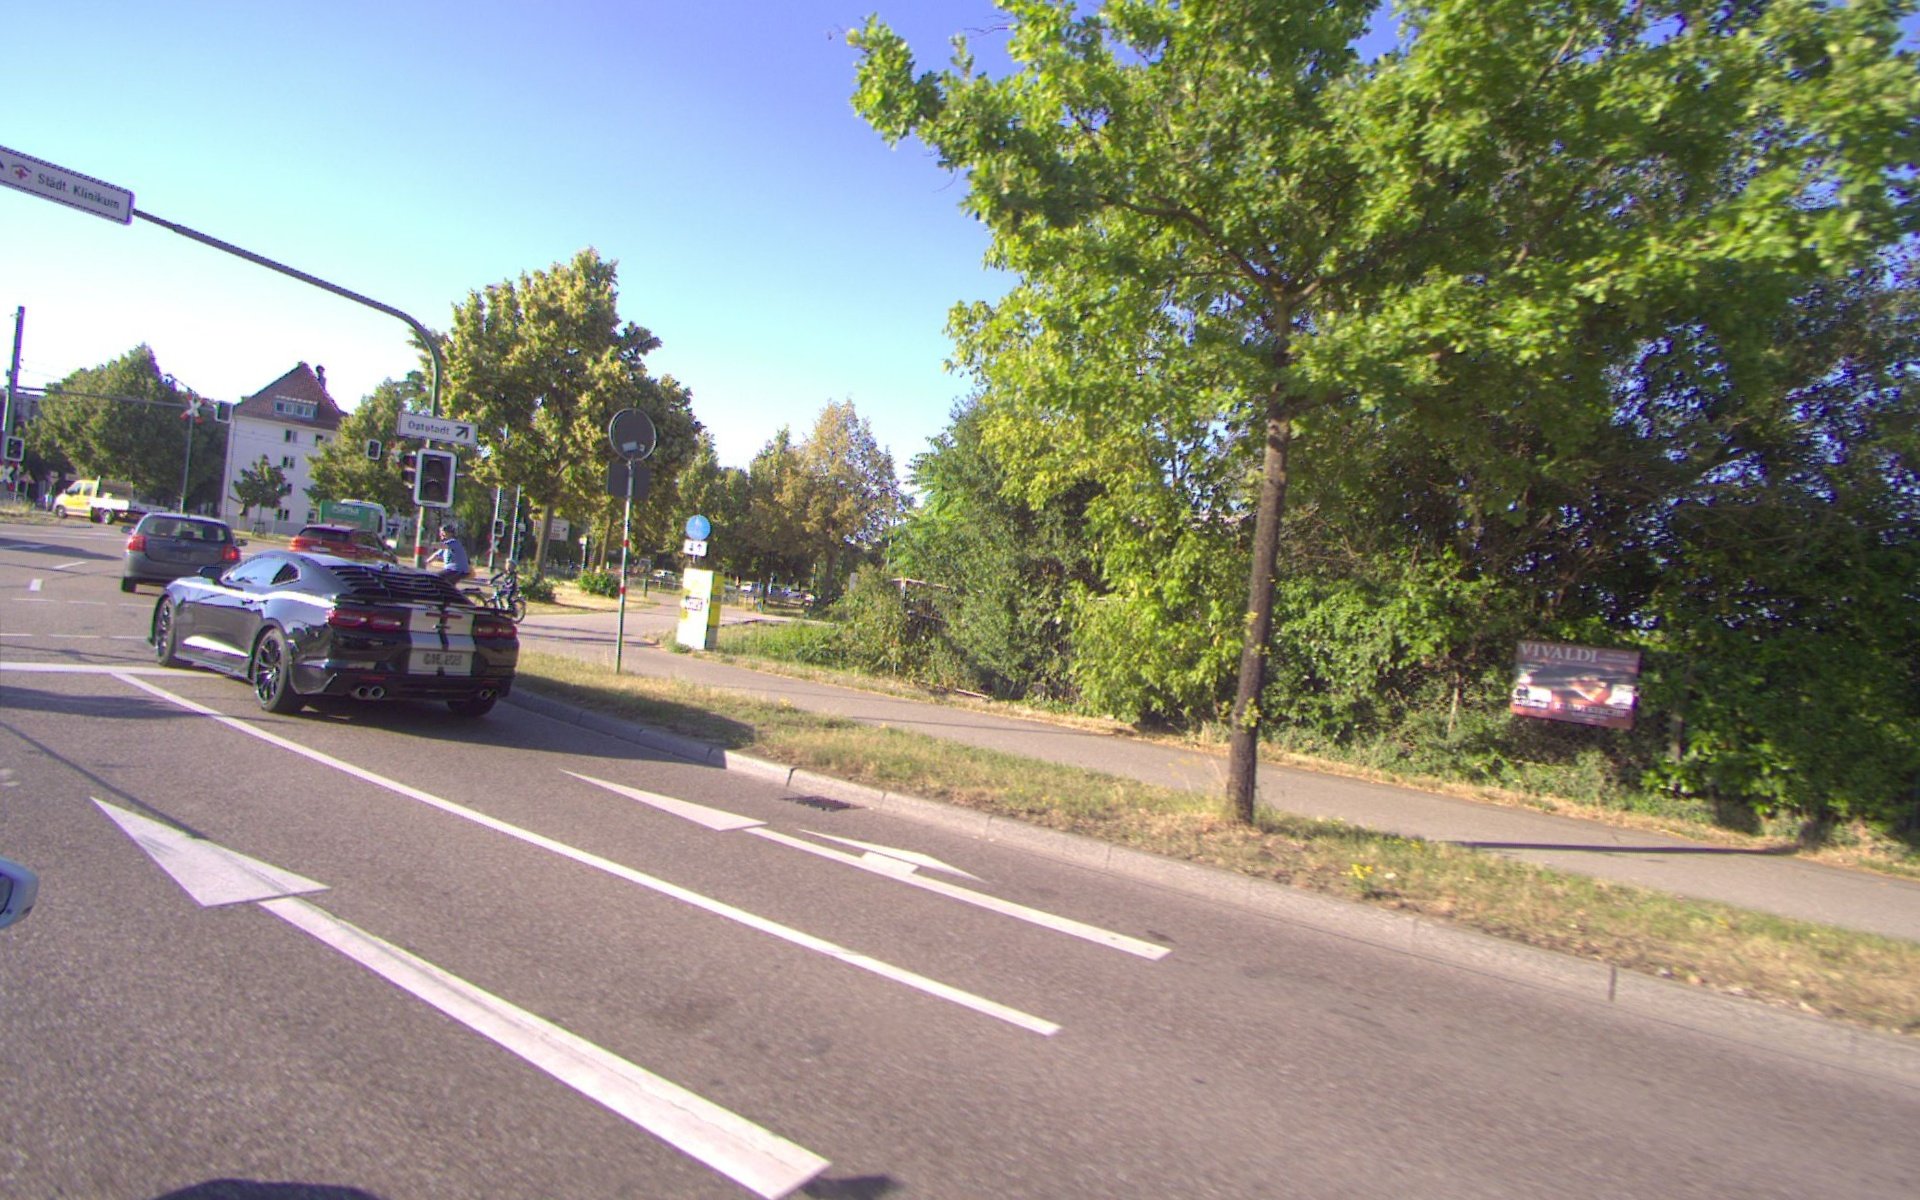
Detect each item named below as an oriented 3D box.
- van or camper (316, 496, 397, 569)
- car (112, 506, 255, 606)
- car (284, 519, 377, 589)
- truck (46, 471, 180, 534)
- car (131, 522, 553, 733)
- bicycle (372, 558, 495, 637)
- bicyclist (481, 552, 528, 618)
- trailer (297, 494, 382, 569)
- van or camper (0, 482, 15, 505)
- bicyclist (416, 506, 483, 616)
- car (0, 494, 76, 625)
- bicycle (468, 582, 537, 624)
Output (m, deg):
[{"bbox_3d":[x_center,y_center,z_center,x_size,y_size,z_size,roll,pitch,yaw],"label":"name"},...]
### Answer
[{"bbox_3d":[-26.440,-2.889,44.319,2.265,2.660,6.540,8,-1,-26],"label":"van or camper"},{"bbox_3d":[-14.673,-0.874,18.942,1.741,1.491,3.773,7,0,-42],"label":"car"},{"bbox_3d":[-18.056,-1.343,29.018,1.733,1.640,3.793,9,0,-27],"label":"car"},{"bbox_3d":[-46.966,-5.412,55.831,6.133,2.590,2.589,7,0,16],"label":"truck"},{"bbox_3d":[-6.098,0.196,9.709,4.554,1.354,1.855,7,-1,37],"label":"car"},{"bbox_3d":[-9.751,-0.044,18.708,1.883,1.260,0.606,5,1,-22],"label":"bicycle"},{"bbox_3d":[-9.532,-0.304,21.067,0.457,1.311,0.651,7,2,14],"label":"bicyclist"},{"bbox_3d":[-23.873,-2.562,38.825,2.071,2.428,3.481,8,-1,-24],"label":"trailer"},{"bbox_3d":[-98.765,-11.048,102.618,2.075,2.181,4.394,7,0,-26],"label":"van or camper"},{"bbox_3d":[-9.510,-0.714,18.758,0.926,1.924,0.598,5,2,-22],"label":"bicyclist"},{"bbox_3d":[-14.078,-0.736,13.956,3.934,1.630,1.603,7,0,33],"label":"car"},{"bbox_3d":[-9.566,0.069,21.098,0.431,0.796,1.464,7,0,15],"label":"bicycle"}]
